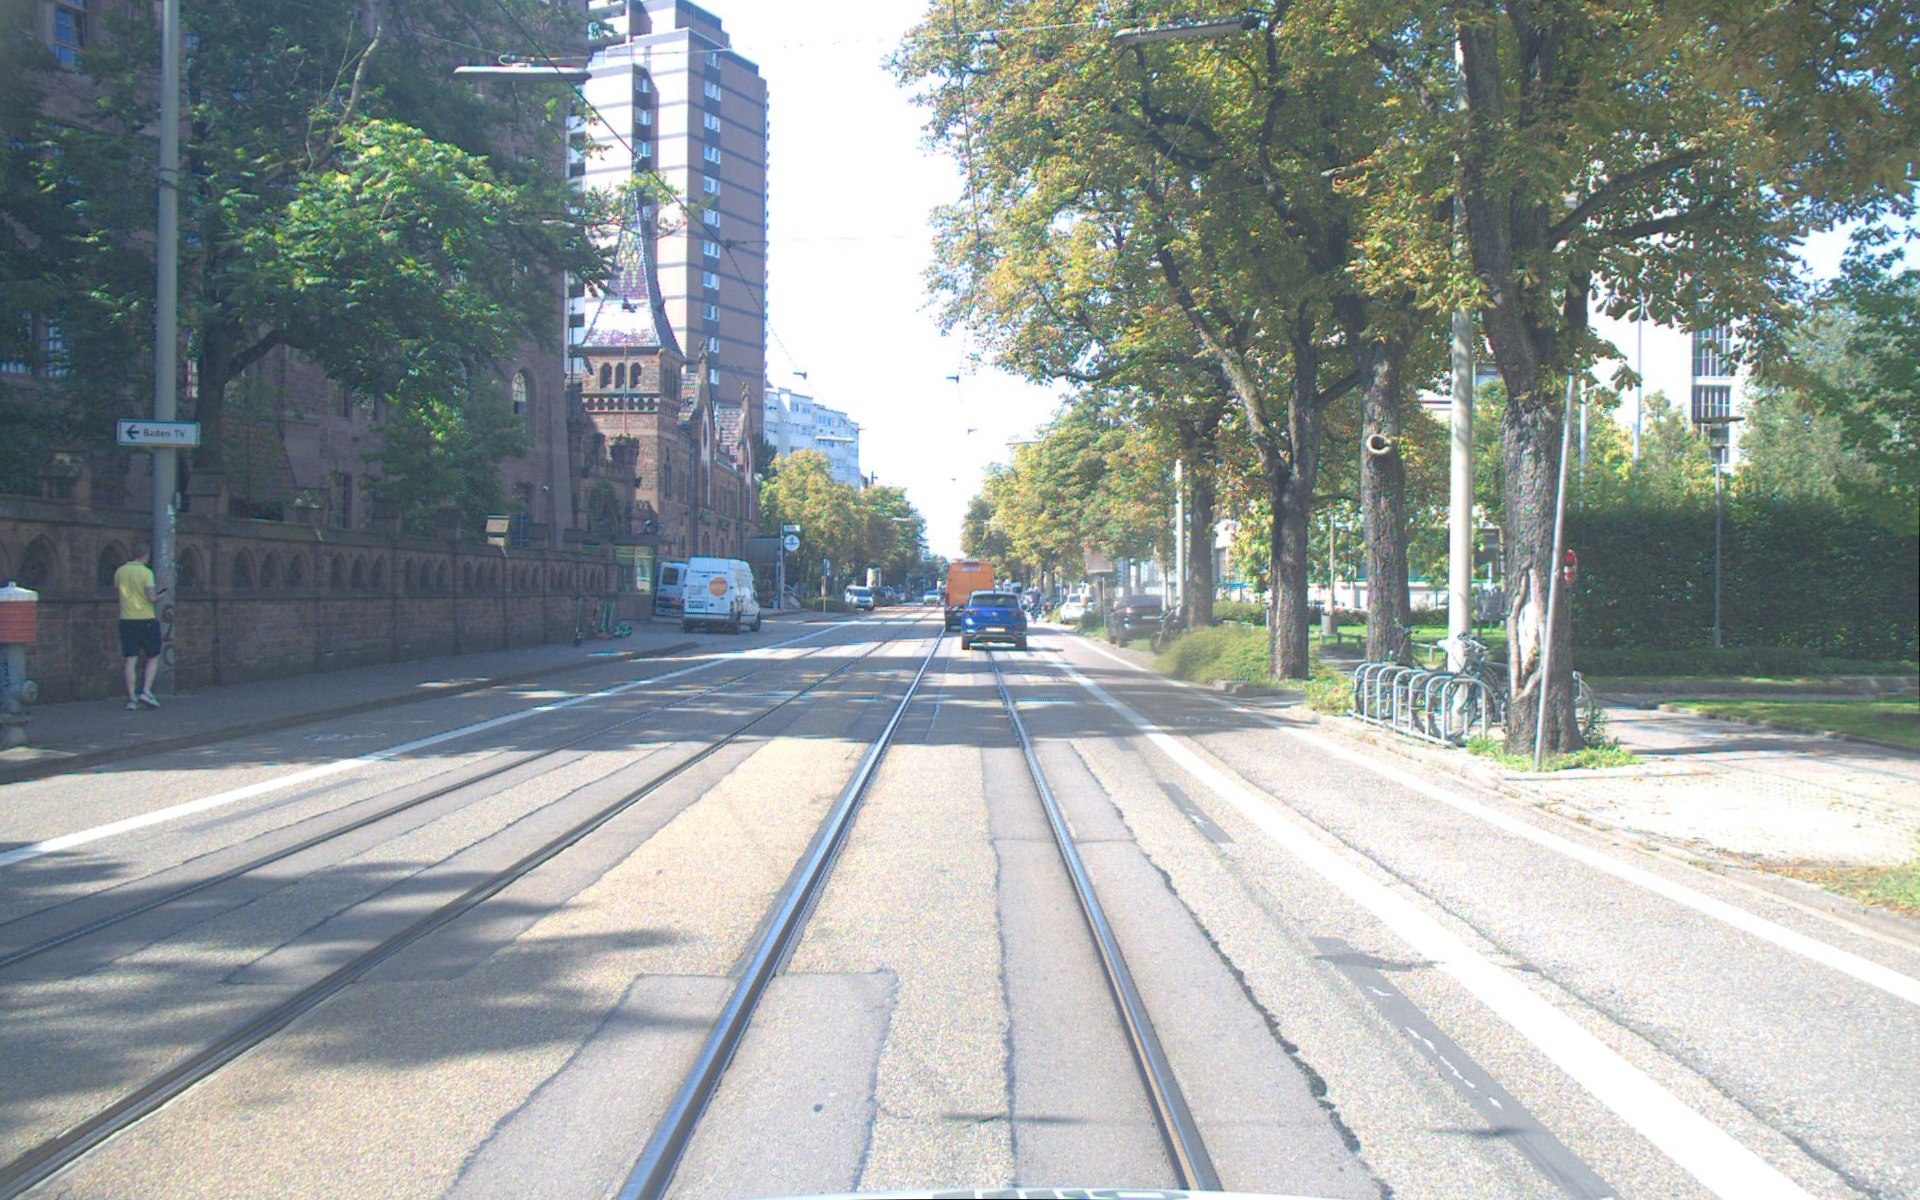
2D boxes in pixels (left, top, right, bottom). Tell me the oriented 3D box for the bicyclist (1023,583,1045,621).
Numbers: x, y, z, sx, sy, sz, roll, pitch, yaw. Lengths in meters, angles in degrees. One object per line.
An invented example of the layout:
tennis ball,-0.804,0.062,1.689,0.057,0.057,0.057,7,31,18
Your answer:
bicyclist,3.629,0.109,80.860,1.010,1.844,1.016,1,0,0

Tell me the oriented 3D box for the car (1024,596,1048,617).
car,5.737,0.477,124.971,1.600,1.612,4.188,1,0,-1

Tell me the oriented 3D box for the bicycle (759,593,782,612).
bicycle,-12.369,0.176,108.161,1.422,1.112,0.399,4,0,-4

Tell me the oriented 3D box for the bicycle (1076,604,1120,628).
bicycle,5.782,0.664,69.180,1.775,0.975,0.558,1,0,0

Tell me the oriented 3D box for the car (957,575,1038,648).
car,0.988,0.295,45.502,2.092,1.891,5.568,0,0,0

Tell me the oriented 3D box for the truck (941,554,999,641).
truck,0.391,-0.104,63.999,2.092,3.179,6.085,0,0,0

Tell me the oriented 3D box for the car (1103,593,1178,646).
car,5.514,0.578,51.058,1.720,1.542,4.608,-1,0,-1

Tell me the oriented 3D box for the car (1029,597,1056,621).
car,5.565,0.589,111.872,1.707,1.583,4.217,0,0,1

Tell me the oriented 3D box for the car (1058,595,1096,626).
car,5.789,0.514,81.940,1.625,1.507,4.217,0,0,1

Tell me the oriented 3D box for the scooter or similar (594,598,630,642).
scooter or similar,-9.606,0.544,45.659,0.333,1.199,1.177,1,0,25

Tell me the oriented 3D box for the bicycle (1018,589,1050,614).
bicycle,3.593,0.072,80.875,1.373,1.154,4.000,0,0,0

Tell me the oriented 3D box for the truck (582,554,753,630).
truck,-11.493,-0.333,65.203,6.188,2.582,2.132,4,1,5

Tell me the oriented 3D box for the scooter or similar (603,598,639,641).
scooter or similar,-9.586,0.541,46.793,0.333,1.199,1.177,1,0,25

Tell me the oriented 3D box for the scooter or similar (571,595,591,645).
scooter or similar,-9.212,0.472,40.185,0.413,1.199,1.311,1,0,-15

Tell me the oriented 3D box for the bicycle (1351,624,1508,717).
bicycle,5.640,0.841,19.919,1.735,1.068,0.540,-1,0,-1

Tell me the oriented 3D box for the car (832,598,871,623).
car,-8.487,0.812,128.754,1.725,1.828,3.968,1,0,-25

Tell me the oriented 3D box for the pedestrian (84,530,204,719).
pedestrian,-9.143,0.268,18.576,0.846,2.049,0.983,1,0,-2

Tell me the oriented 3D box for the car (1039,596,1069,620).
car,5.703,0.500,100.322,1.625,1.432,4.217,0,0,1

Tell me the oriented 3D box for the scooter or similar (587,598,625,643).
scooter or similar,-9.523,0.548,44.487,0.333,1.199,1.177,1,0,25

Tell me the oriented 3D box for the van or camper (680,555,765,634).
van or camper,-8.591,-0.190,60.354,2.069,2.722,5.956,1,0,2

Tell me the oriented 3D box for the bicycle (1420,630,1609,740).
bicycle,5.605,0.849,16.761,1.735,1.068,0.540,-1,0,-1

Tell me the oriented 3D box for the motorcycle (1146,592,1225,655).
motorcycle,5.716,0.569,42.092,0.839,1.542,2.437,1,0,-24

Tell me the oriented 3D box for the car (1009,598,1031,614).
car,5.641,0.533,155.586,1.869,1.456,4.291,1,0,-1

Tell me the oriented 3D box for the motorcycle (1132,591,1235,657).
motorcycle,5.448,0.570,40.392,2.408,1.542,0.849,1,0,39

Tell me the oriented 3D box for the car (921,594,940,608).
car,-3.217,0.103,180.845,1.809,1.518,4.868,-1,0,1

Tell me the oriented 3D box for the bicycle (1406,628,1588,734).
bicycle,5.650,0.848,17.439,1.735,1.068,0.540,-1,0,-1

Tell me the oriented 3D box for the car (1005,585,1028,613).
car,5.679,-0.103,166.181,1.953,2.804,5.760,1,0,-1
